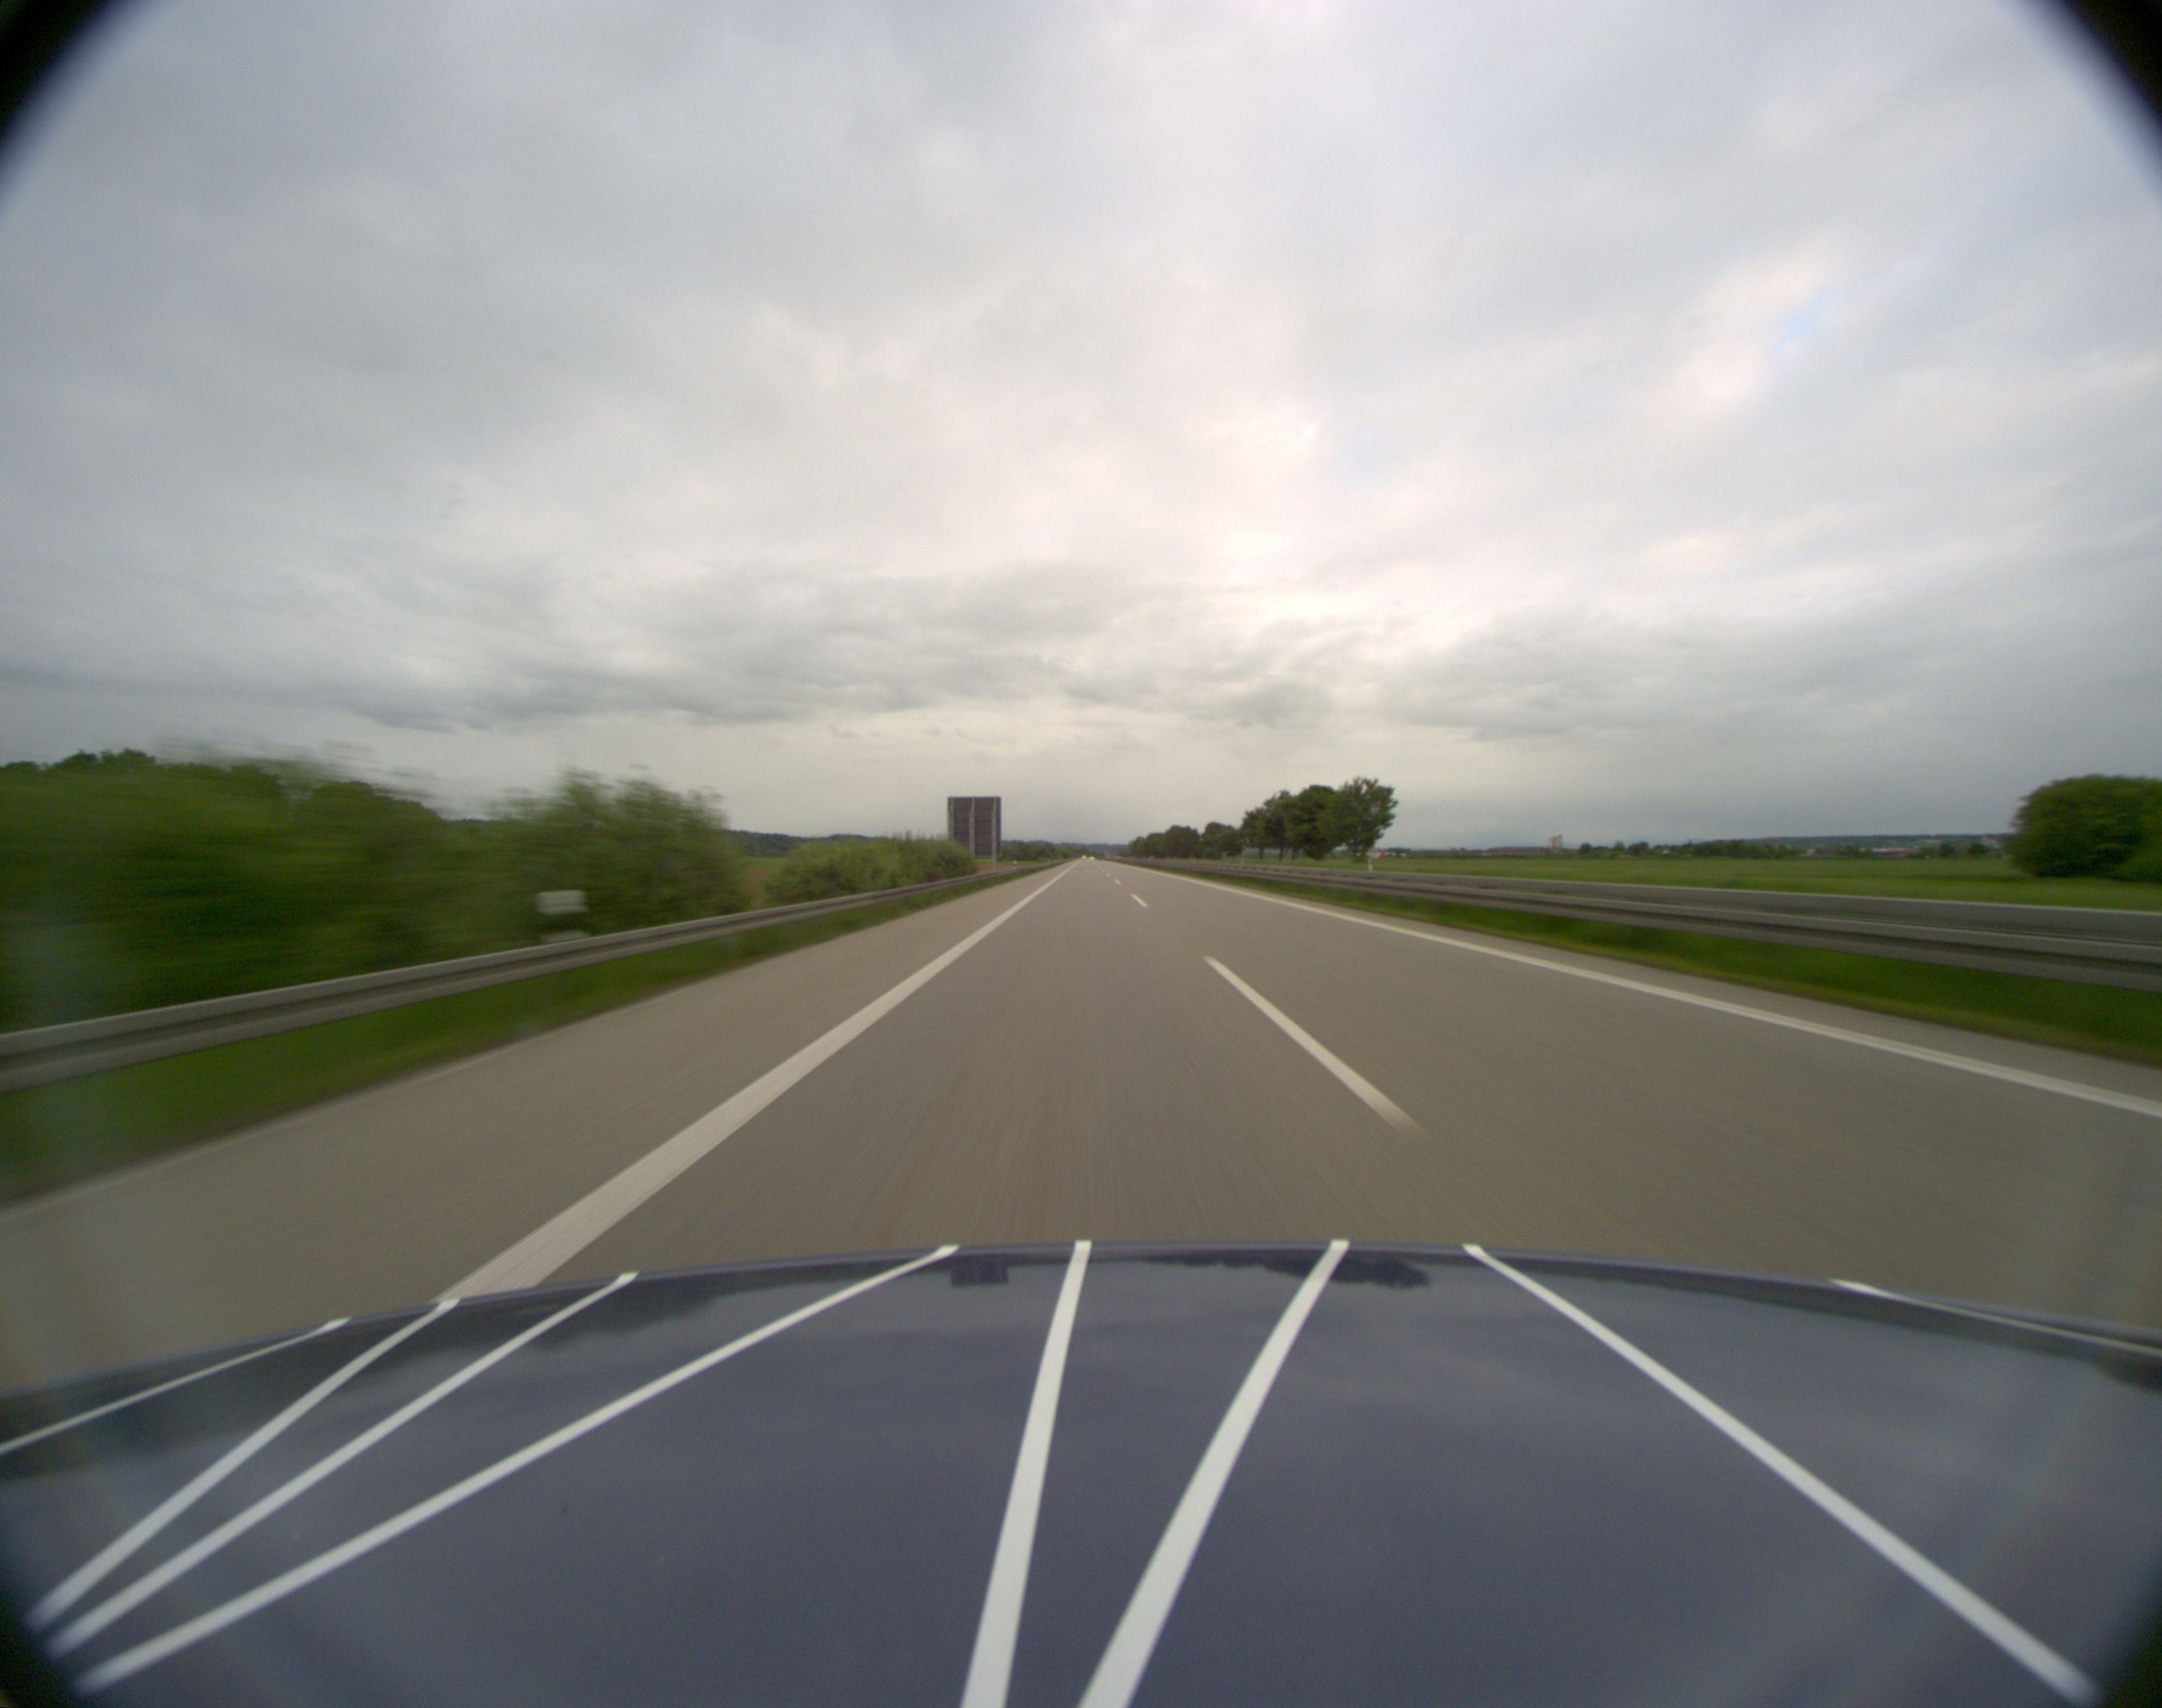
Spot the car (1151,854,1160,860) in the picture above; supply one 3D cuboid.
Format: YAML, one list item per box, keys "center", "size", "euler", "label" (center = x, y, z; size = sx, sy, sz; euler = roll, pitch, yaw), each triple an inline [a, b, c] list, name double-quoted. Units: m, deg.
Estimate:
- center: [18.599, 0.826, 190.111]
  size: [1.998, 1.437, 4.000]
  euler: [-2, 0, 1]
  label: "car"
